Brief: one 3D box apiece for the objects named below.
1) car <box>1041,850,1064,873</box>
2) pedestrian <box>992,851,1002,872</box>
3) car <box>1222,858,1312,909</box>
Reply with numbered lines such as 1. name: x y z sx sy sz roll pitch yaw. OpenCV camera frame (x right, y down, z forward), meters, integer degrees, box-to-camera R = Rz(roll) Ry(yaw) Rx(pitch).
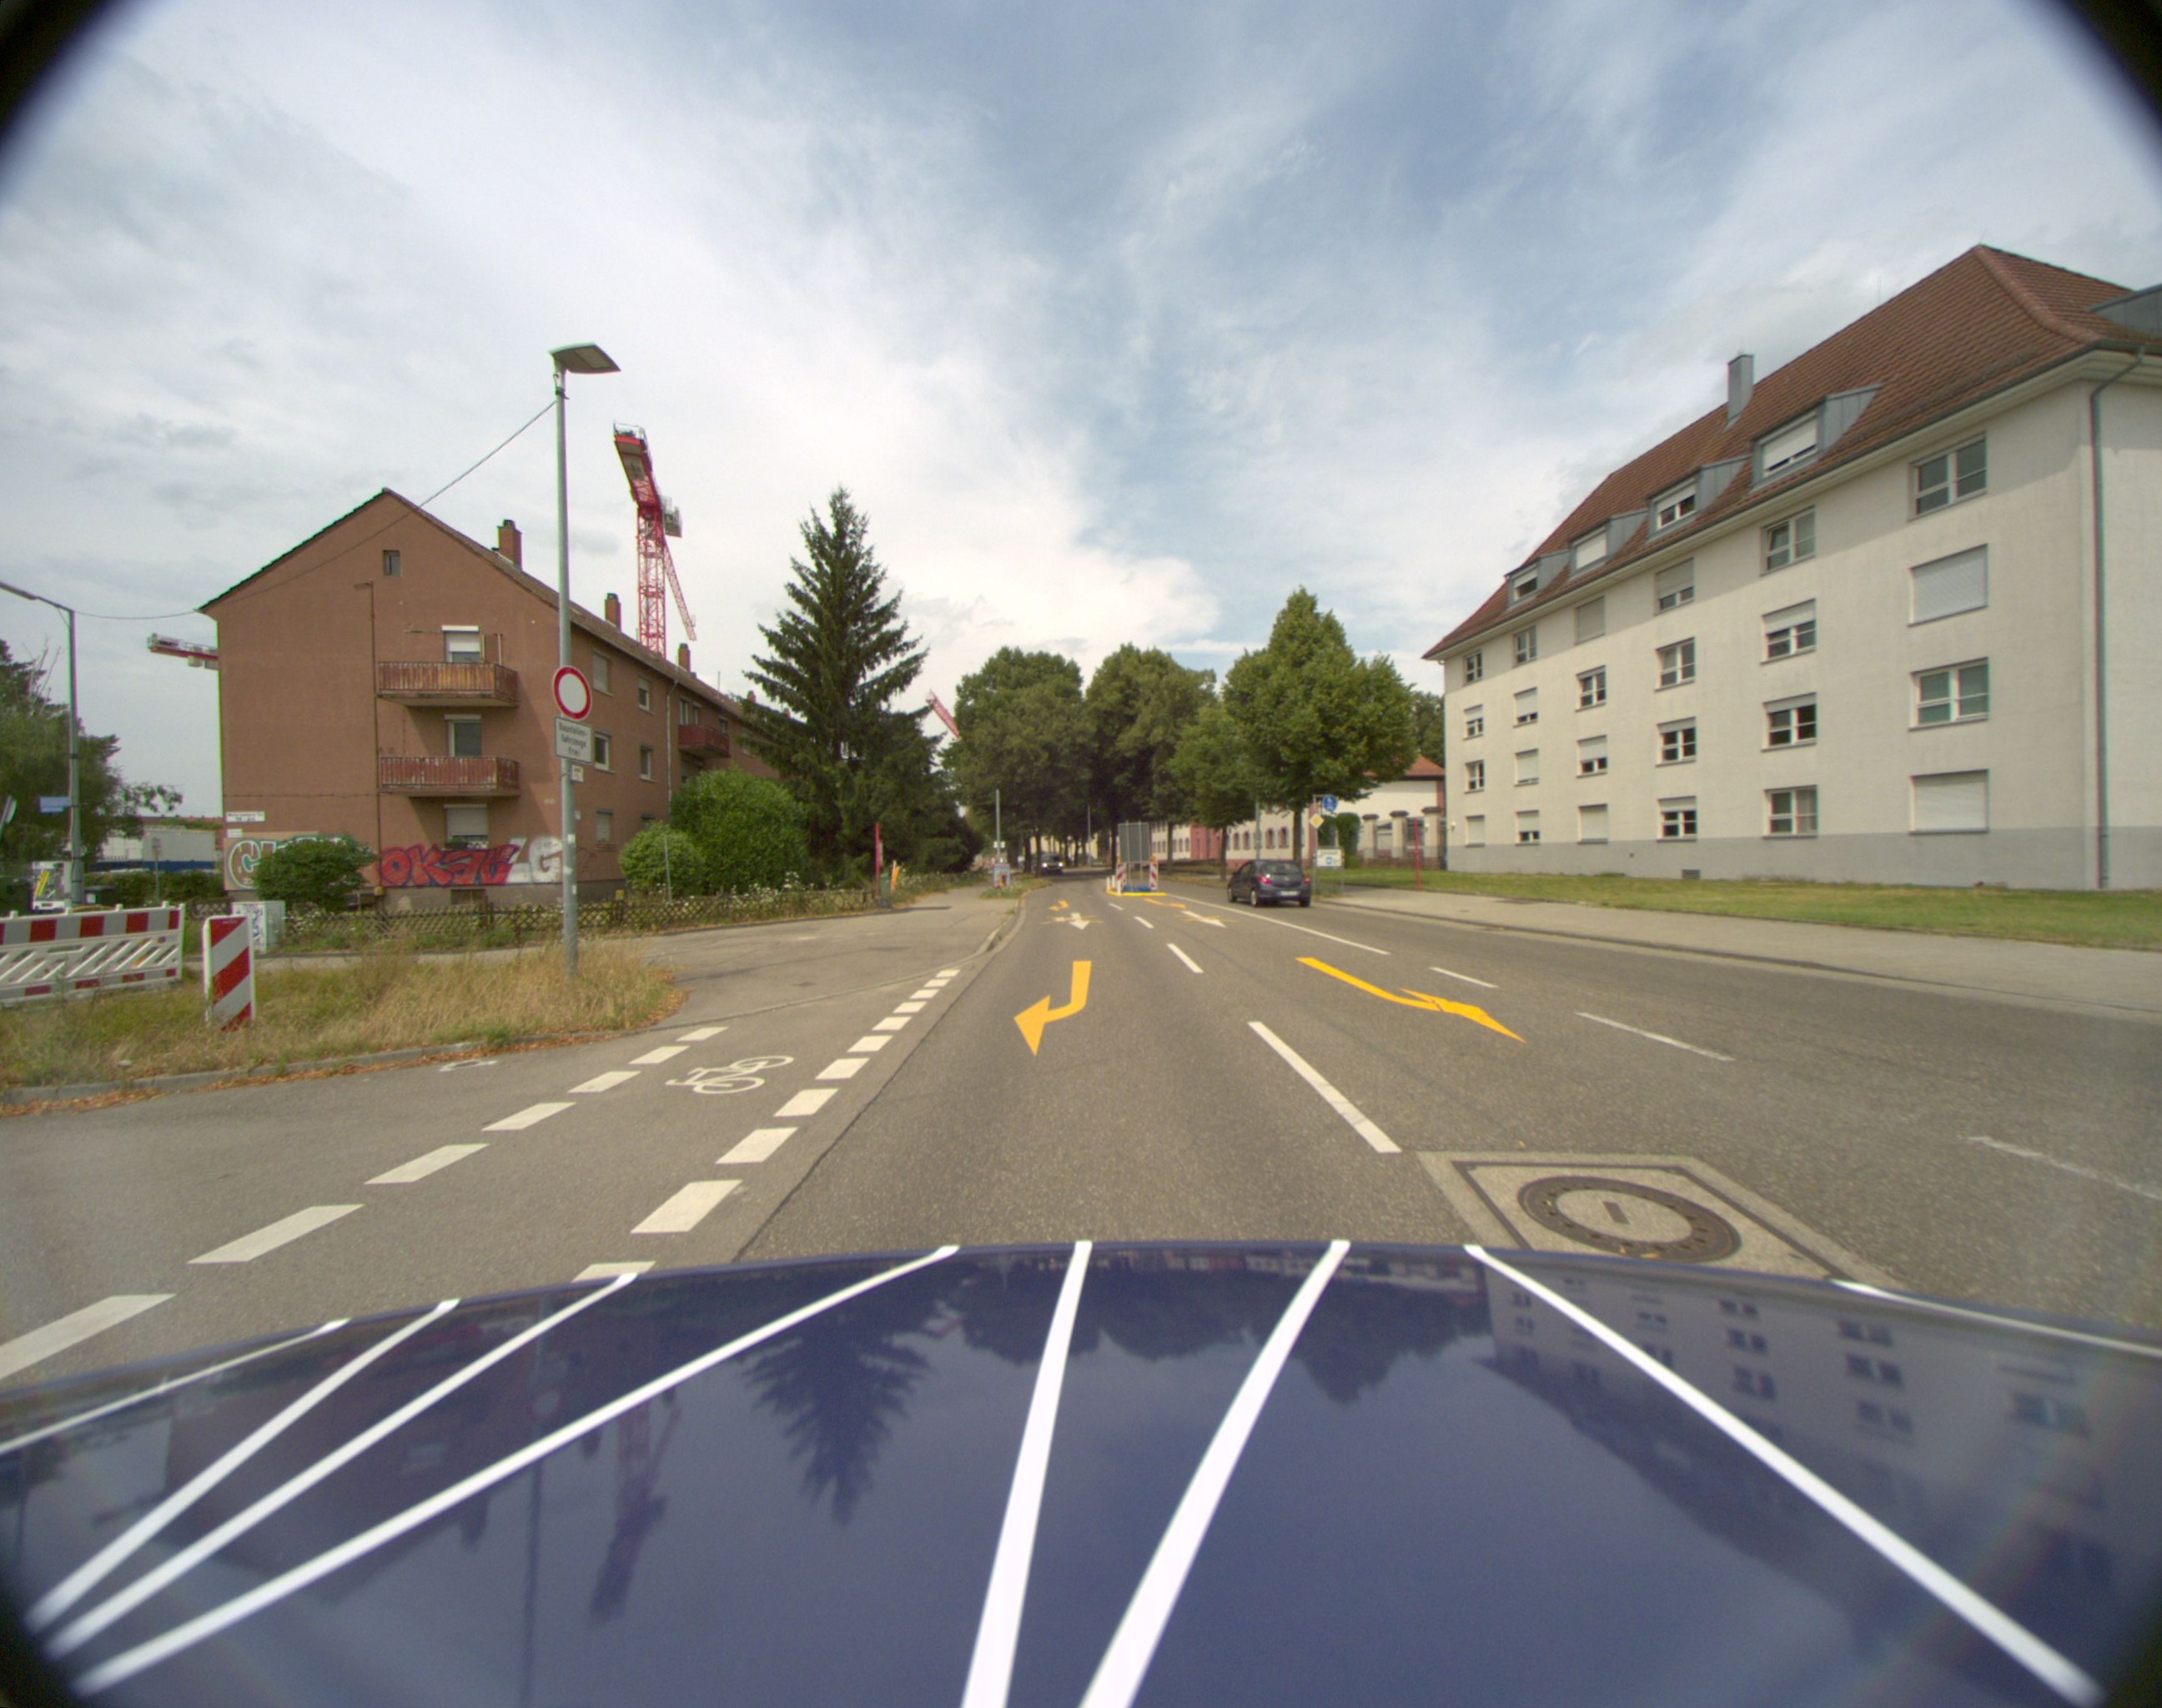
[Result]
1. car: -2.486 0.641 67.122 1.810 1.936 4.584 -1 0 0
2. pedestrian: -8.221 0.697 74.266 0.856 2.002 0.731 -1 0 -6
3. car: 5.726 0.856 23.897 1.676 1.402 3.919 -1 0 -3
